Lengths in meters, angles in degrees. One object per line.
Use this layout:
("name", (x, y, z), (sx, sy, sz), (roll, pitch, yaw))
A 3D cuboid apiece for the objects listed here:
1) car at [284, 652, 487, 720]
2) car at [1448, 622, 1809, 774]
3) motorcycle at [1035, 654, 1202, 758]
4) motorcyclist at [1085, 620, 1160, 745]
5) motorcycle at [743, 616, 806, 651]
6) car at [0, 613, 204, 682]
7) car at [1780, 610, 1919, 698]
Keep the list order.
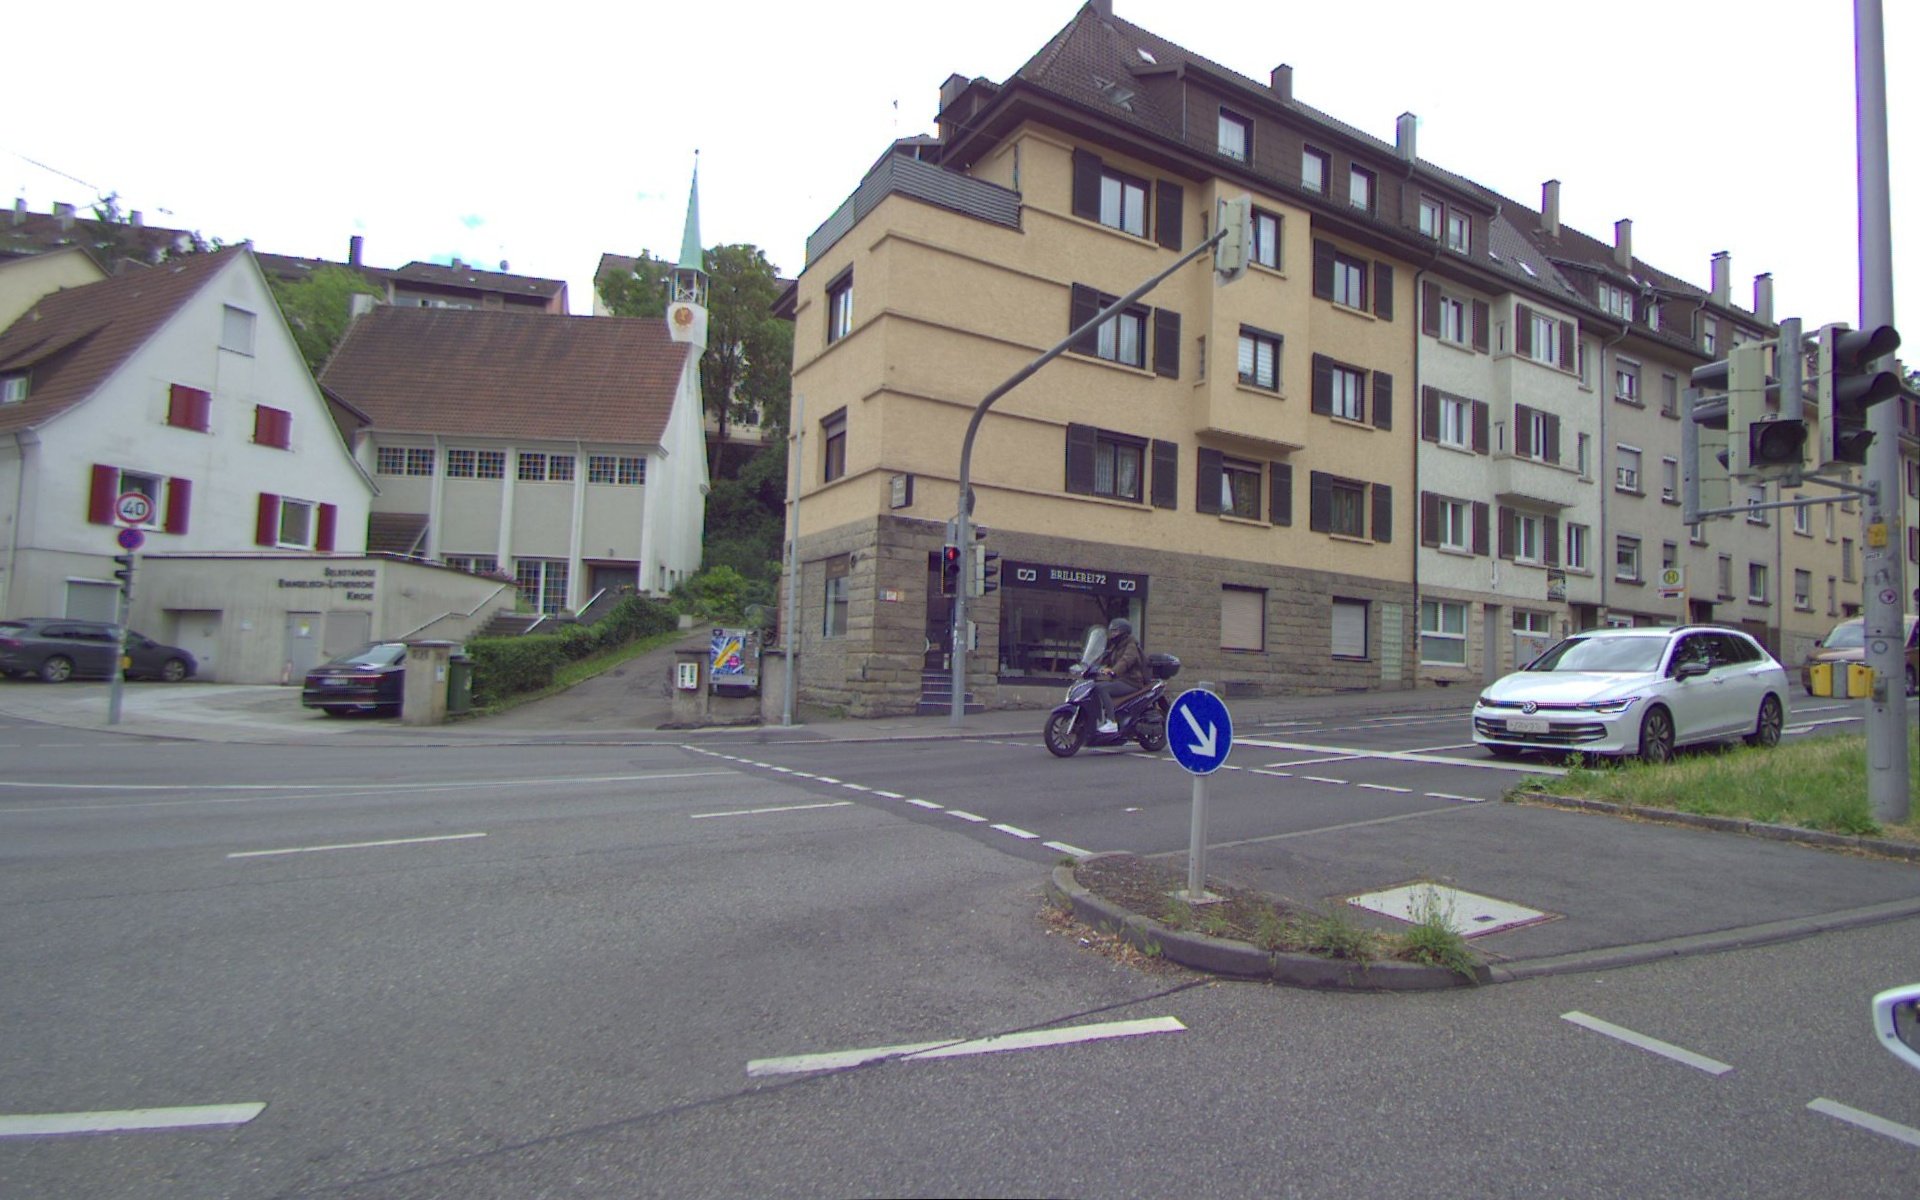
("car", (-12.142, 1.785, 21.568), (1.799, 1.205, 4.002), (1, -2, 5))
("car", (7.918, 1.039, 11.794), (4.533, 1.486, 1.737), (1, -3, -31))
("motorcycle", (1.992, 1.272, 12.460), (2.178, 1.200, 0.542), (2, -3, -29))
("motorcyclist", (2.019, 1.009, 12.505), (0.654, 1.494, 0.670), (2, -3, -29))
("motorcycle", (-6.242, 1.121, 33.805), (2.021, 1.149, 0.556), (2, -1, -29))
("car", (-21.933, 1.169, 25.379), (1.649, 1.485, 4.301), (4, -1, 18))
("car", (20.818, 1.191, 22.893), (4.299, 1.839, 1.871), (1, -2, -30))
